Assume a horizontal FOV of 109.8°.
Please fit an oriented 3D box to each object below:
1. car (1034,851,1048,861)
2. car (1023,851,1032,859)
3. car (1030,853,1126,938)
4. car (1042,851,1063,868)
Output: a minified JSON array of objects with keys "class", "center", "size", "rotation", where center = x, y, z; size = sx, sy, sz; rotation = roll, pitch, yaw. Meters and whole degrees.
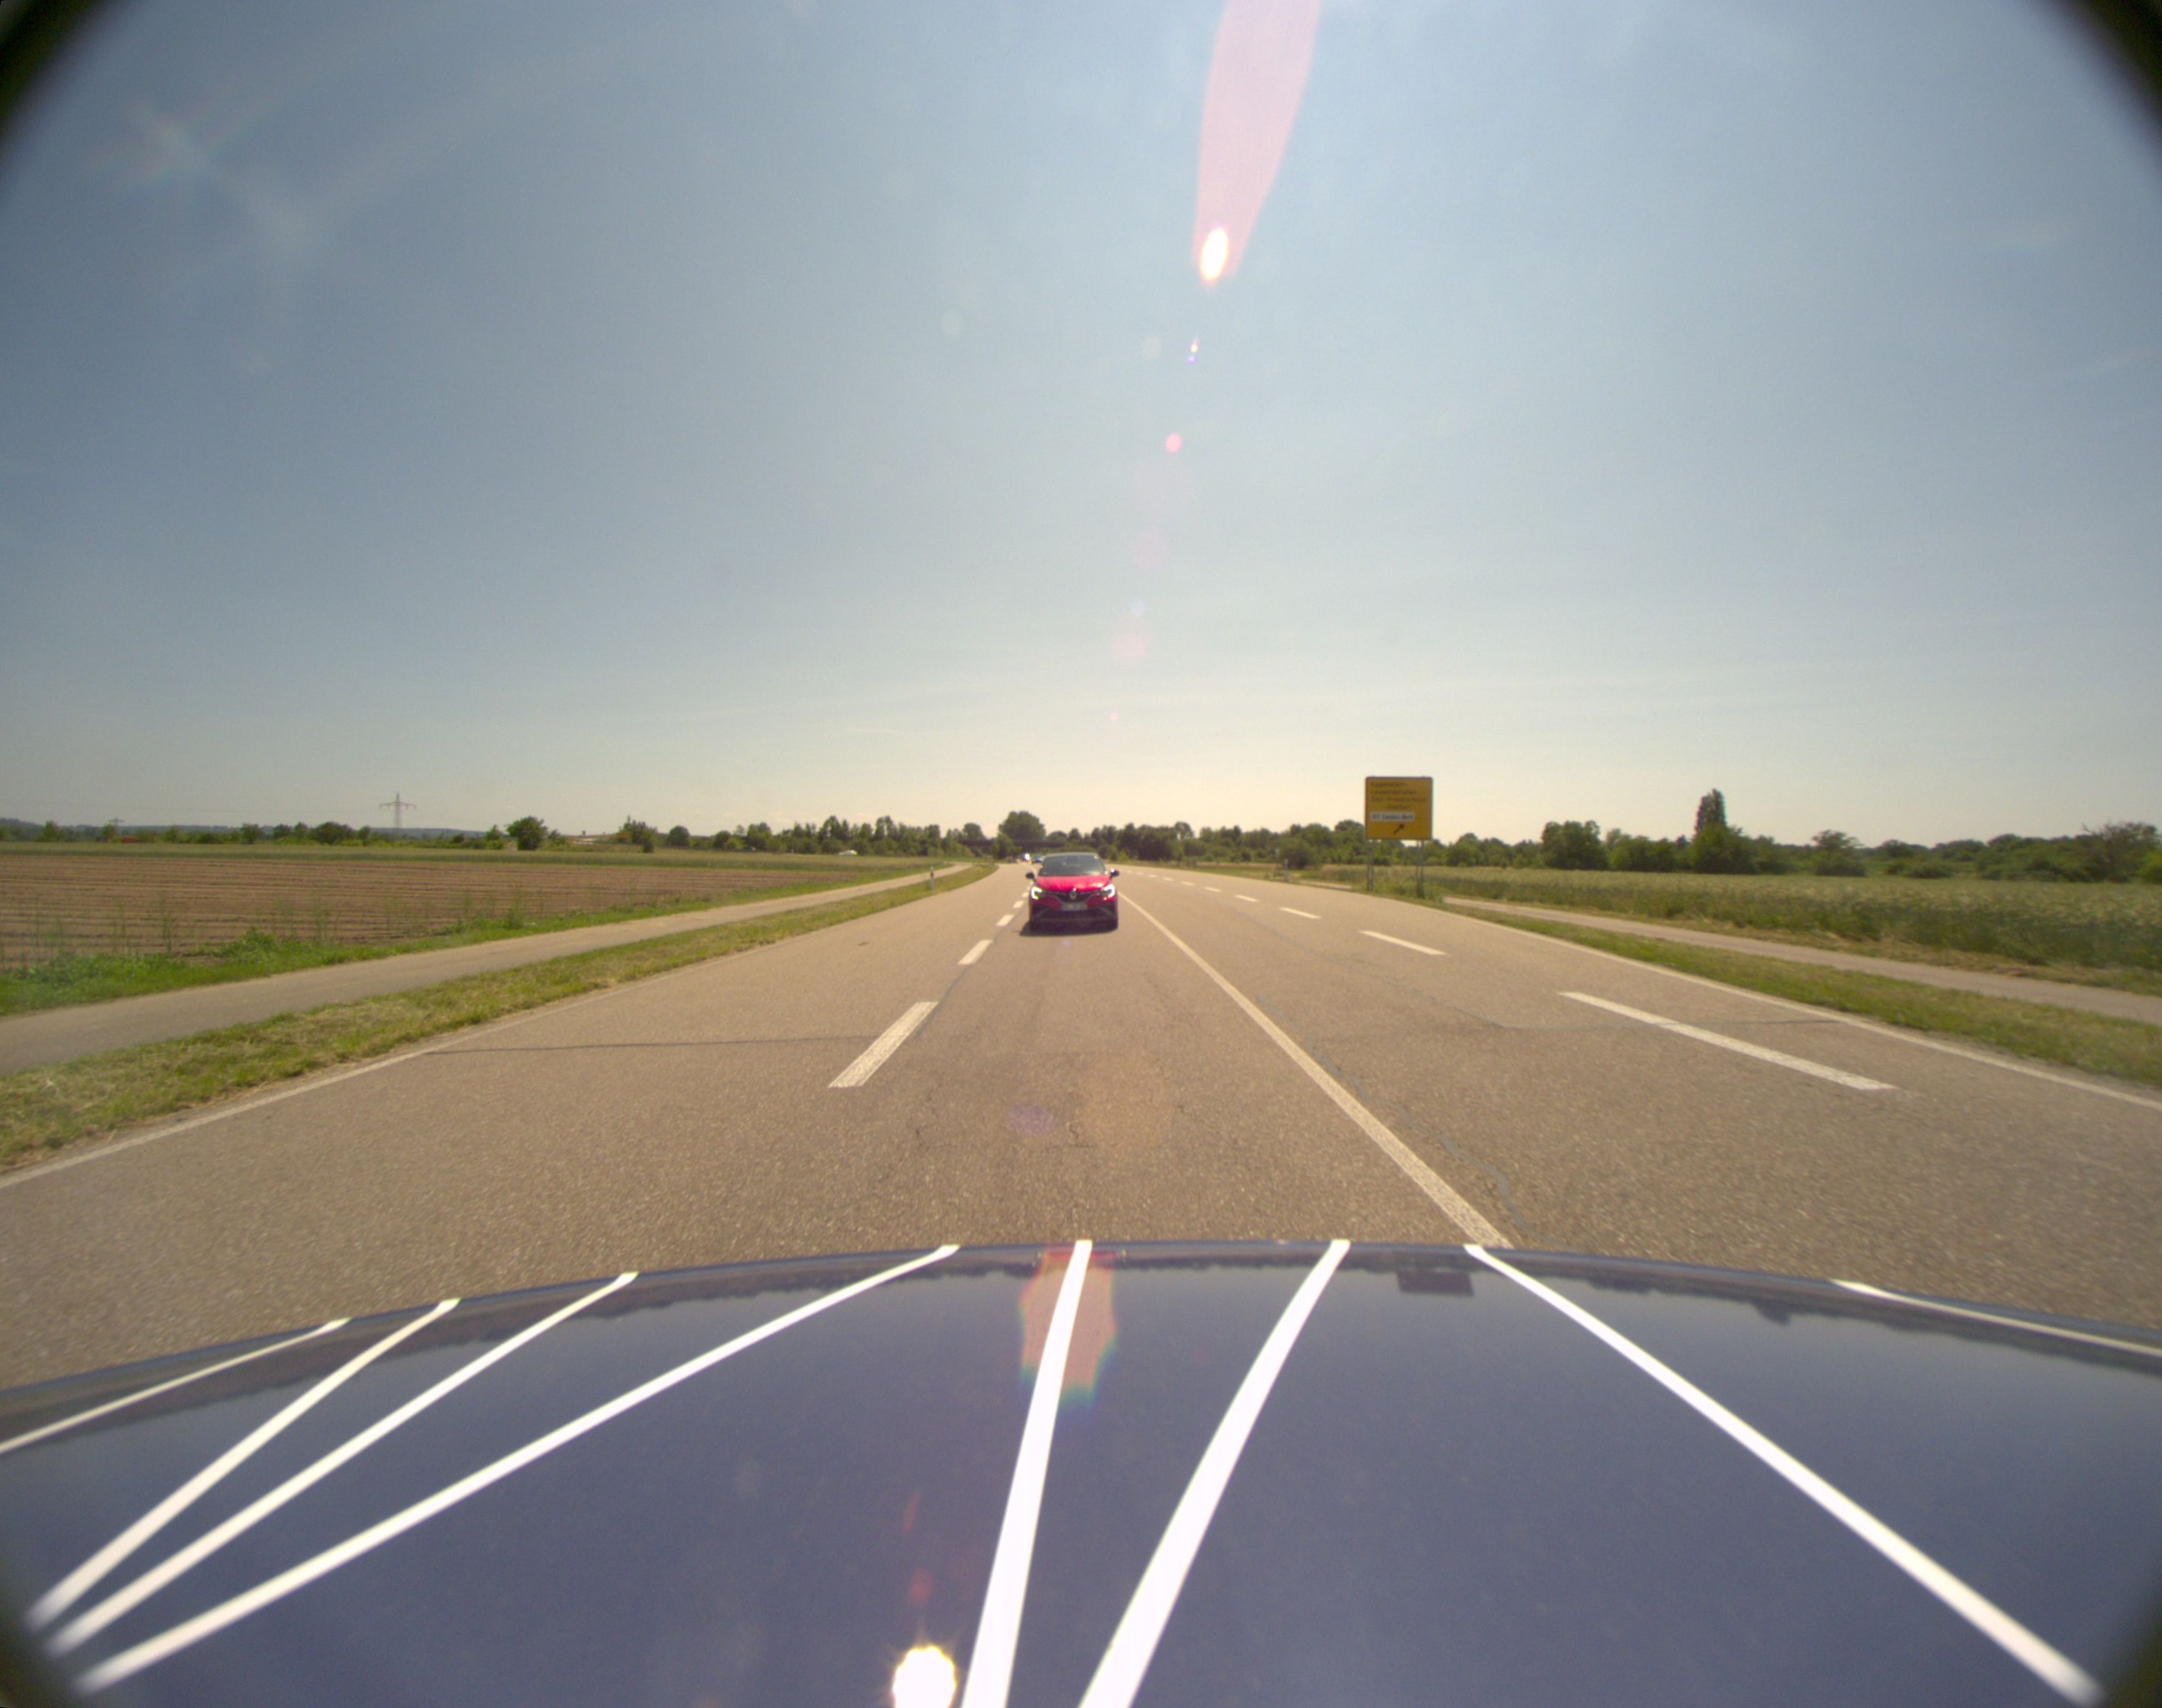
[{"class":"car","center":[-6.579,0.343,123.465],"size":[1.984,1.587,5.398],"rotation":[-1,0,-6]},{"class":"car","center":[-12.166,0.195,172.671],"size":[1.983,1.587,5.400],"rotation":[-1,0,-2]},{"class":"car","center":[0.015,0.807,16.977],"size":[1.837,1.587,4.722],"rotation":[-1,0,2]},{"class":"car","center":[-2.822,0.540,74.964],"size":[1.983,1.587,5.400],"rotation":[-1,0,-3]}]
